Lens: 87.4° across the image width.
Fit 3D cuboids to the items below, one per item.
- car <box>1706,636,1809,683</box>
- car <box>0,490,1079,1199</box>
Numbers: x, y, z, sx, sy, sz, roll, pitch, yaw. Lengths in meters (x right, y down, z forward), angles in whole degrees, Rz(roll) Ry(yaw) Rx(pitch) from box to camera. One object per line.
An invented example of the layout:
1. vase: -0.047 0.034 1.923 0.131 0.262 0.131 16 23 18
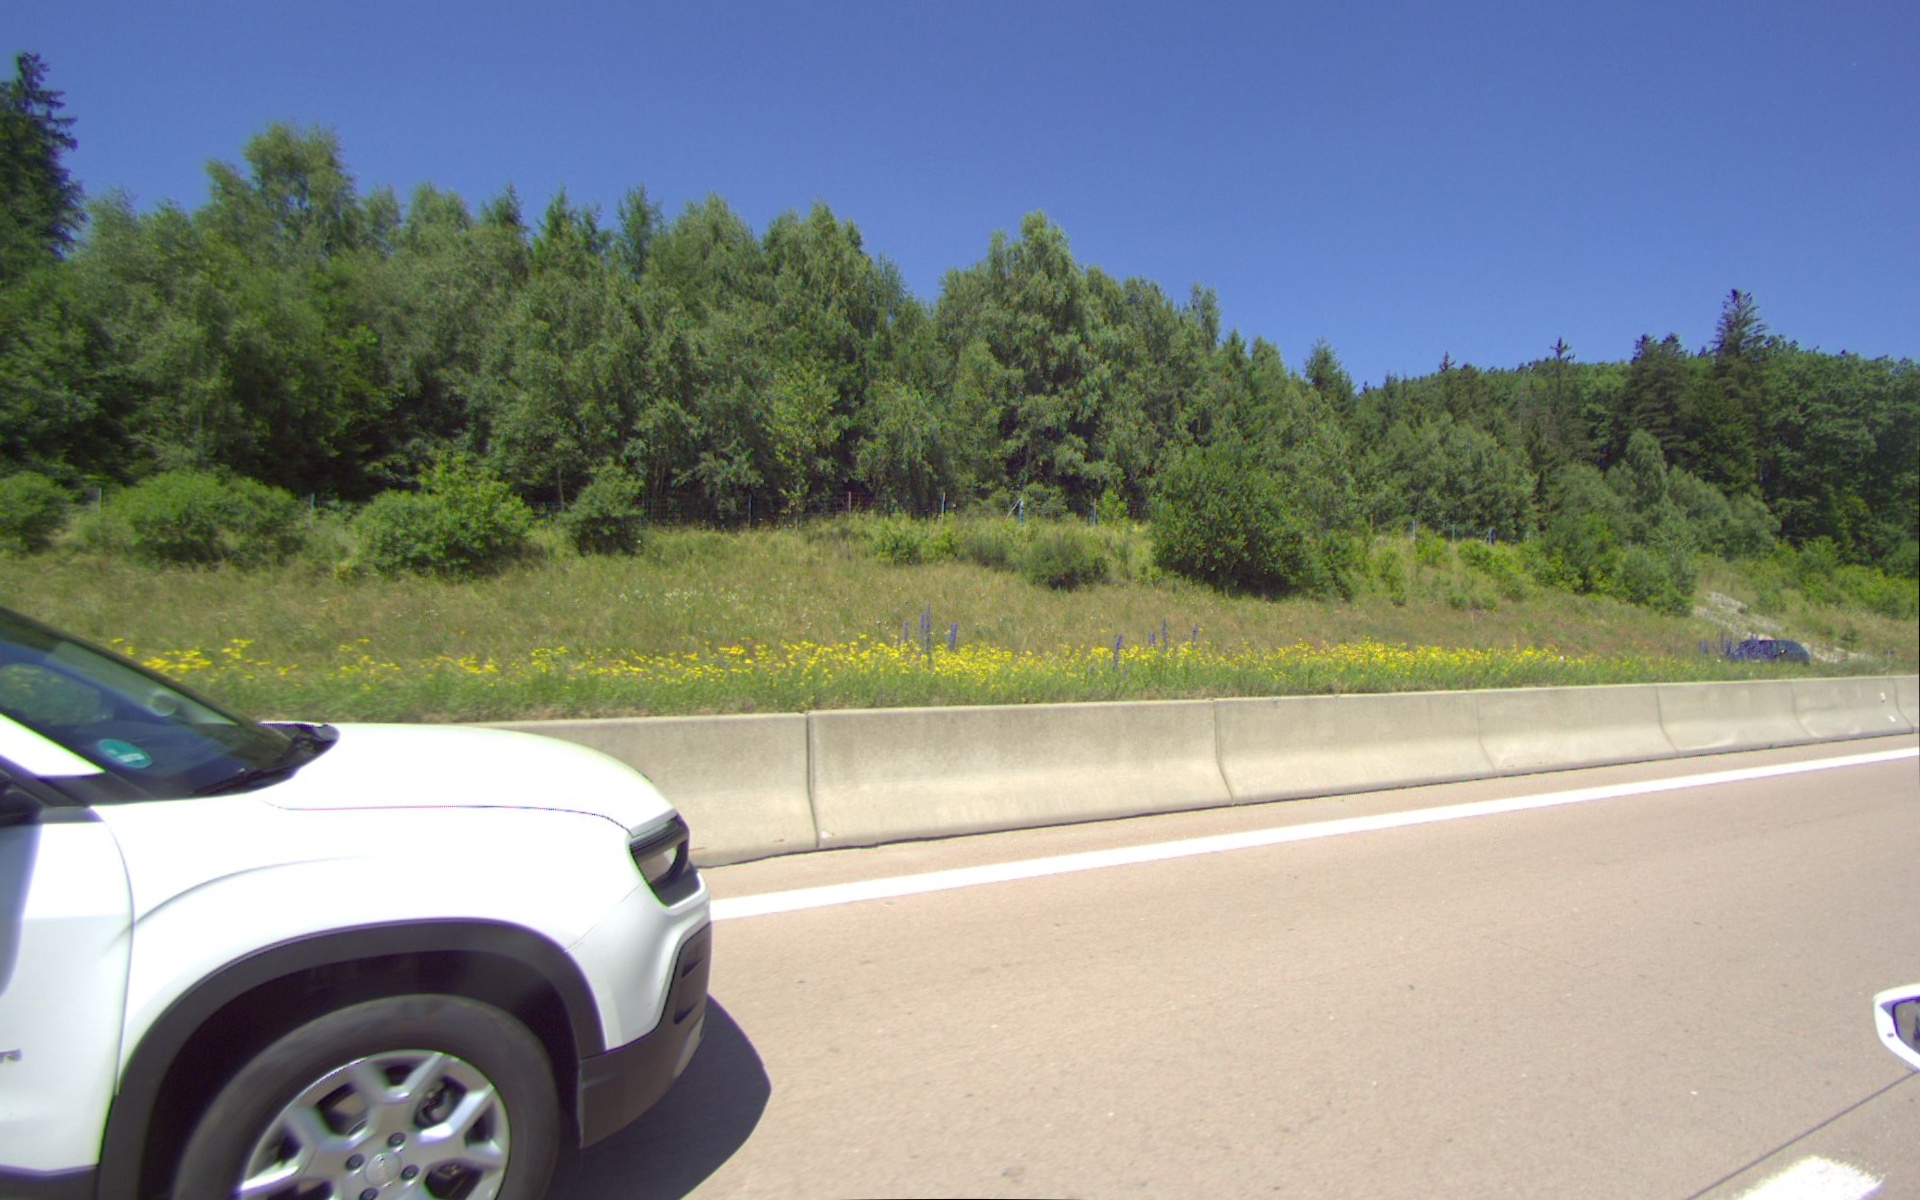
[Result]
1. car: 31.897 2.344 40.134 4.414 1.761 1.880 1 -1 -32
2. car: -2.208 0.632 2.299 4.778 1.628 1.870 2 -1 -31
